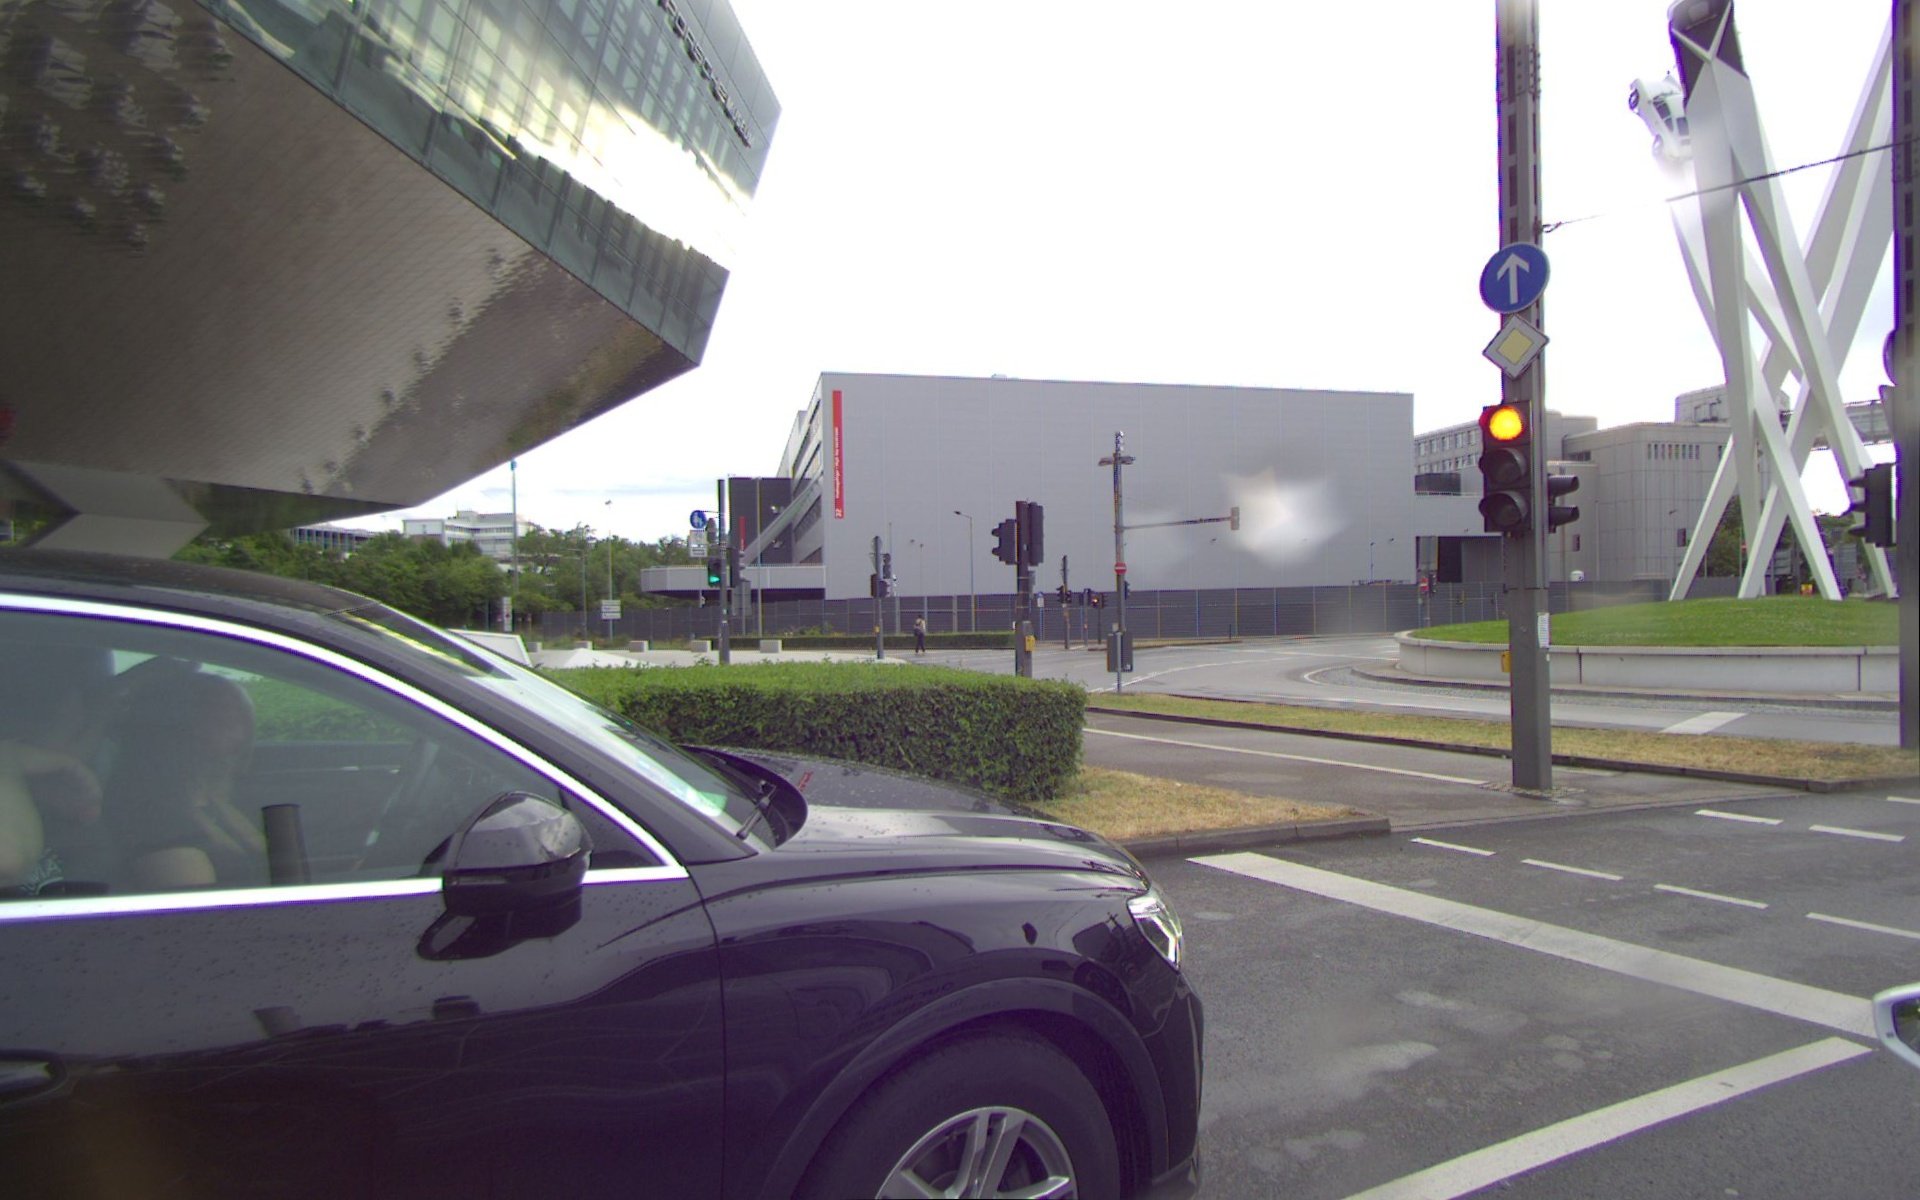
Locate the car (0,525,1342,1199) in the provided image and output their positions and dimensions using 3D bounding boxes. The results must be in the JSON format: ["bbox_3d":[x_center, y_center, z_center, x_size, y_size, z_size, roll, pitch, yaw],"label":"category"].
[{"bbox_3d":[-1.488,0.685,1.800,4.344,1.538,1.743,2,0,-31],"label":"car"}]

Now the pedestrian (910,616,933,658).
[{"bbox_3d":[-1.720,1.631,44.831,0.638,1.827,0.851,0,0,35],"label":"pedestrian"}]

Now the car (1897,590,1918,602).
[{"bbox_3d":[121.645,-0.566,128.923,4.365,1.459,1.766,-1,0,-44],"label":"car"}]
